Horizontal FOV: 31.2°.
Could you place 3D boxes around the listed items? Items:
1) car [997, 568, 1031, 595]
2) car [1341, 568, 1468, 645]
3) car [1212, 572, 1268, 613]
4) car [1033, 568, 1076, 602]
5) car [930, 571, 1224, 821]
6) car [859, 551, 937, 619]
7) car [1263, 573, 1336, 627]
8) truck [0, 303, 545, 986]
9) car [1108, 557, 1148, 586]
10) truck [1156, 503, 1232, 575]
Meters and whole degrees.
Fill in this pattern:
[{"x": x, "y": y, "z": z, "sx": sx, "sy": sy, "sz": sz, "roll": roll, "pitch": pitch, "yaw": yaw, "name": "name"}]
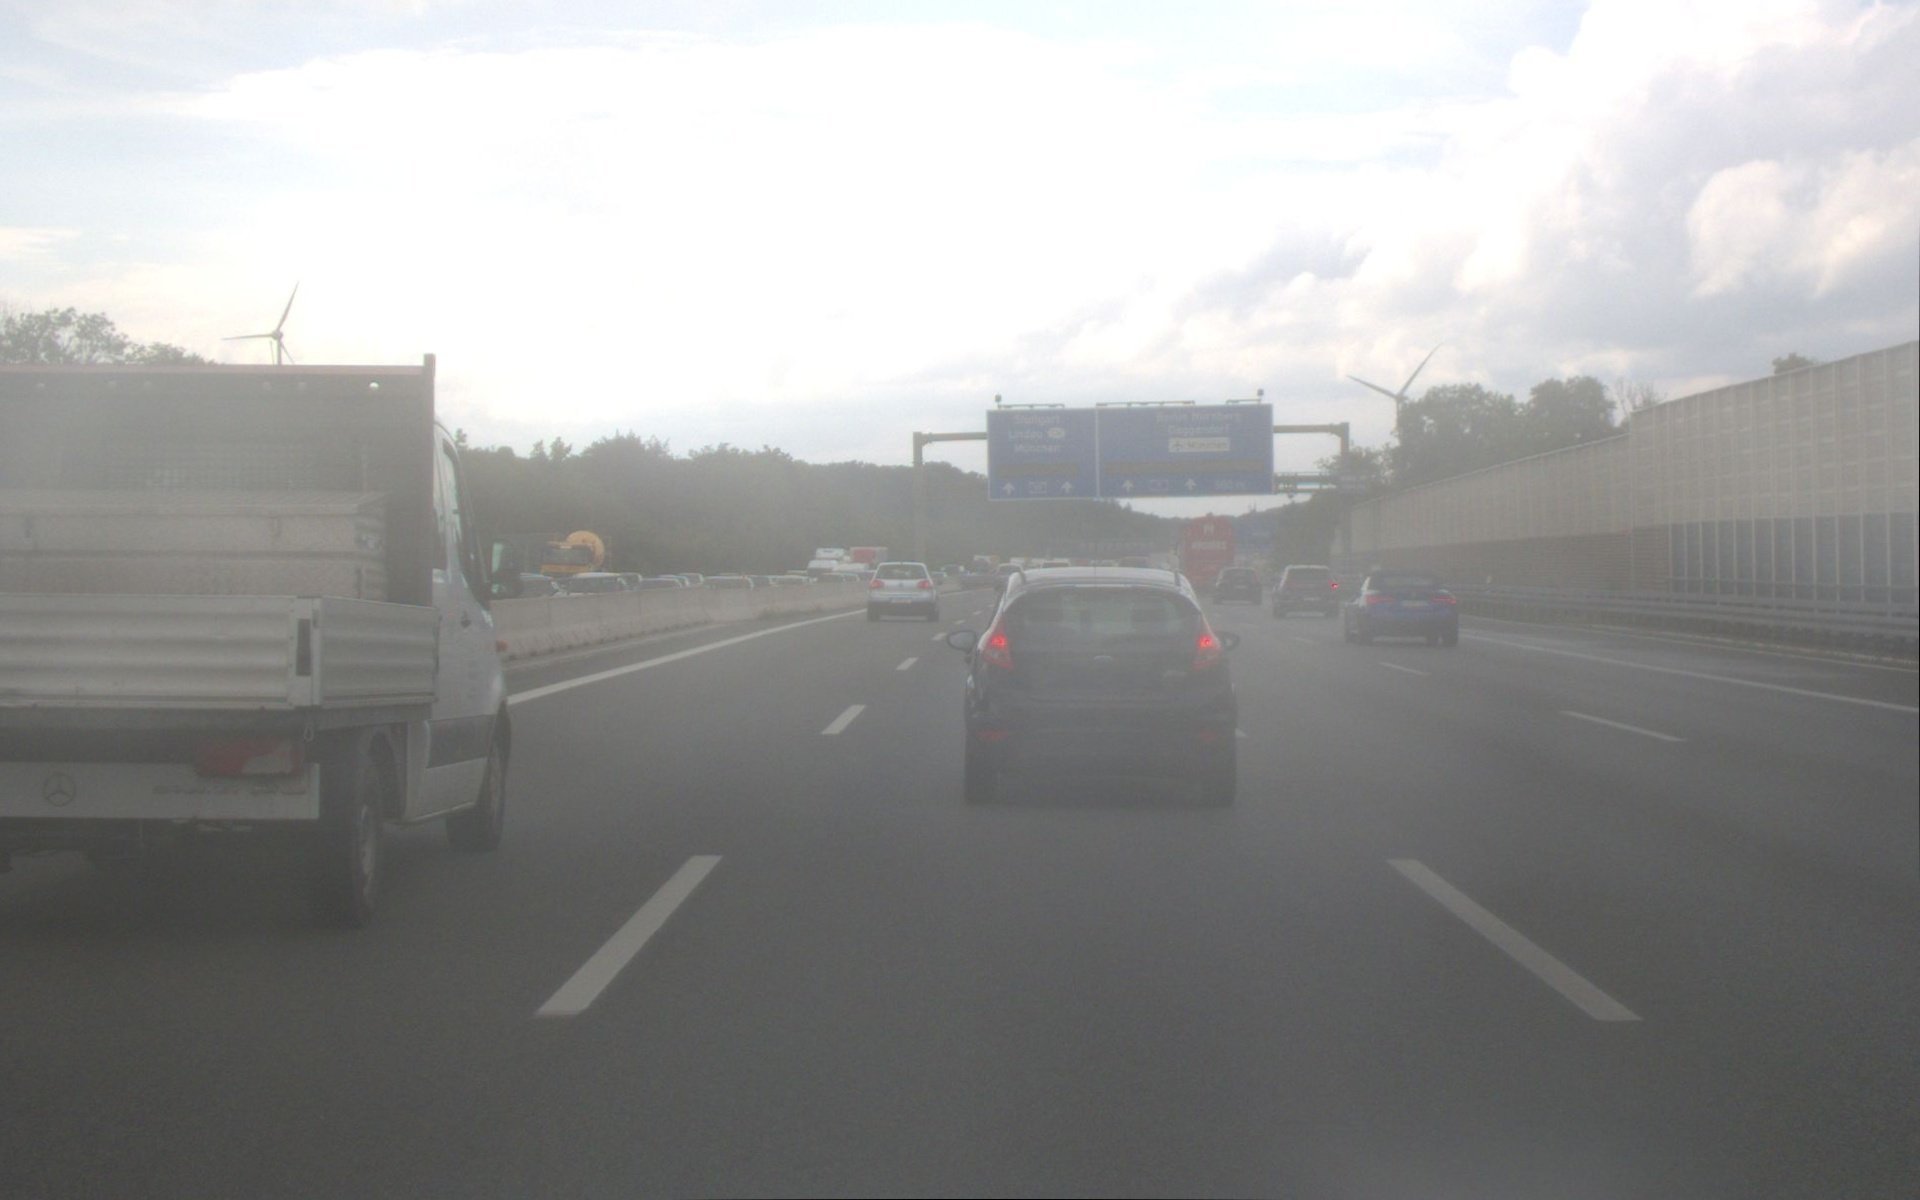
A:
[{"x": 3.142, "y": -1.059, "z": 202.229, "sx": 1.968, "sy": 1.555, "sz": 4.433, "roll": 0, "pitch": 0, "yaw": 0, "name": "car"}, {"x": 8.370, "y": 0.111, "z": 65.078, "sx": 1.950, "sy": 1.413, "sz": 4.232, "roll": 0, "pitch": 0, "yaw": 1, "name": "car"}, {"x": 11.102, "y": -0.295, "z": 136.365, "sx": 1.882, "sy": 1.555, "sz": 4.433, "roll": 0, "pitch": 0, "yaw": 0, "name": "car"}, {"x": 4.504, "y": -0.706, "z": 164.263, "sx": 1.968, "sy": 1.555, "sz": 4.433, "roll": 0, "pitch": 0, "yaw": 0, "name": "car"}, {"x": 0.742, "y": 0.546, "z": 22.325, "sx": 1.717, "sy": 1.412, "sz": 4.278, "roll": 0, "pitch": 1, "yaw": 2, "name": "car"}, {"x": -1.539, "y": -0.402, "z": 86.920, "sx": 1.717, "sy": 1.618, "sz": 4.278, "roll": 0, "pitch": 1, "yaw": 2, "name": "car"}, {"x": 9.993, "y": 0.004, "z": 101.421, "sx": 1.882, "sy": 1.537, "sz": 4.433, "roll": 0, "pitch": 0, "yaw": 2, "name": "car"}, {"x": -3.462, "y": 0.086, "z": 15.849, "sx": 2.307, "sy": 2.431, "sz": 7.149, "roll": 1, "pitch": 1, "yaw": -1, "name": "truck"}, {"x": 9.280, "y": -1.567, "z": 189.983, "sx": 1.968, "sy": 1.555, "sz": 4.433, "roll": 0, "pitch": 0, "yaw": 0, "name": "car"}, {"x": 12.226, "y": -3.185, "z": 180.498, "sx": 3.152, "sy": 3.589, "sz": 12.699, "roll": 1, "pitch": 1, "yaw": 0, "name": "truck"}]
